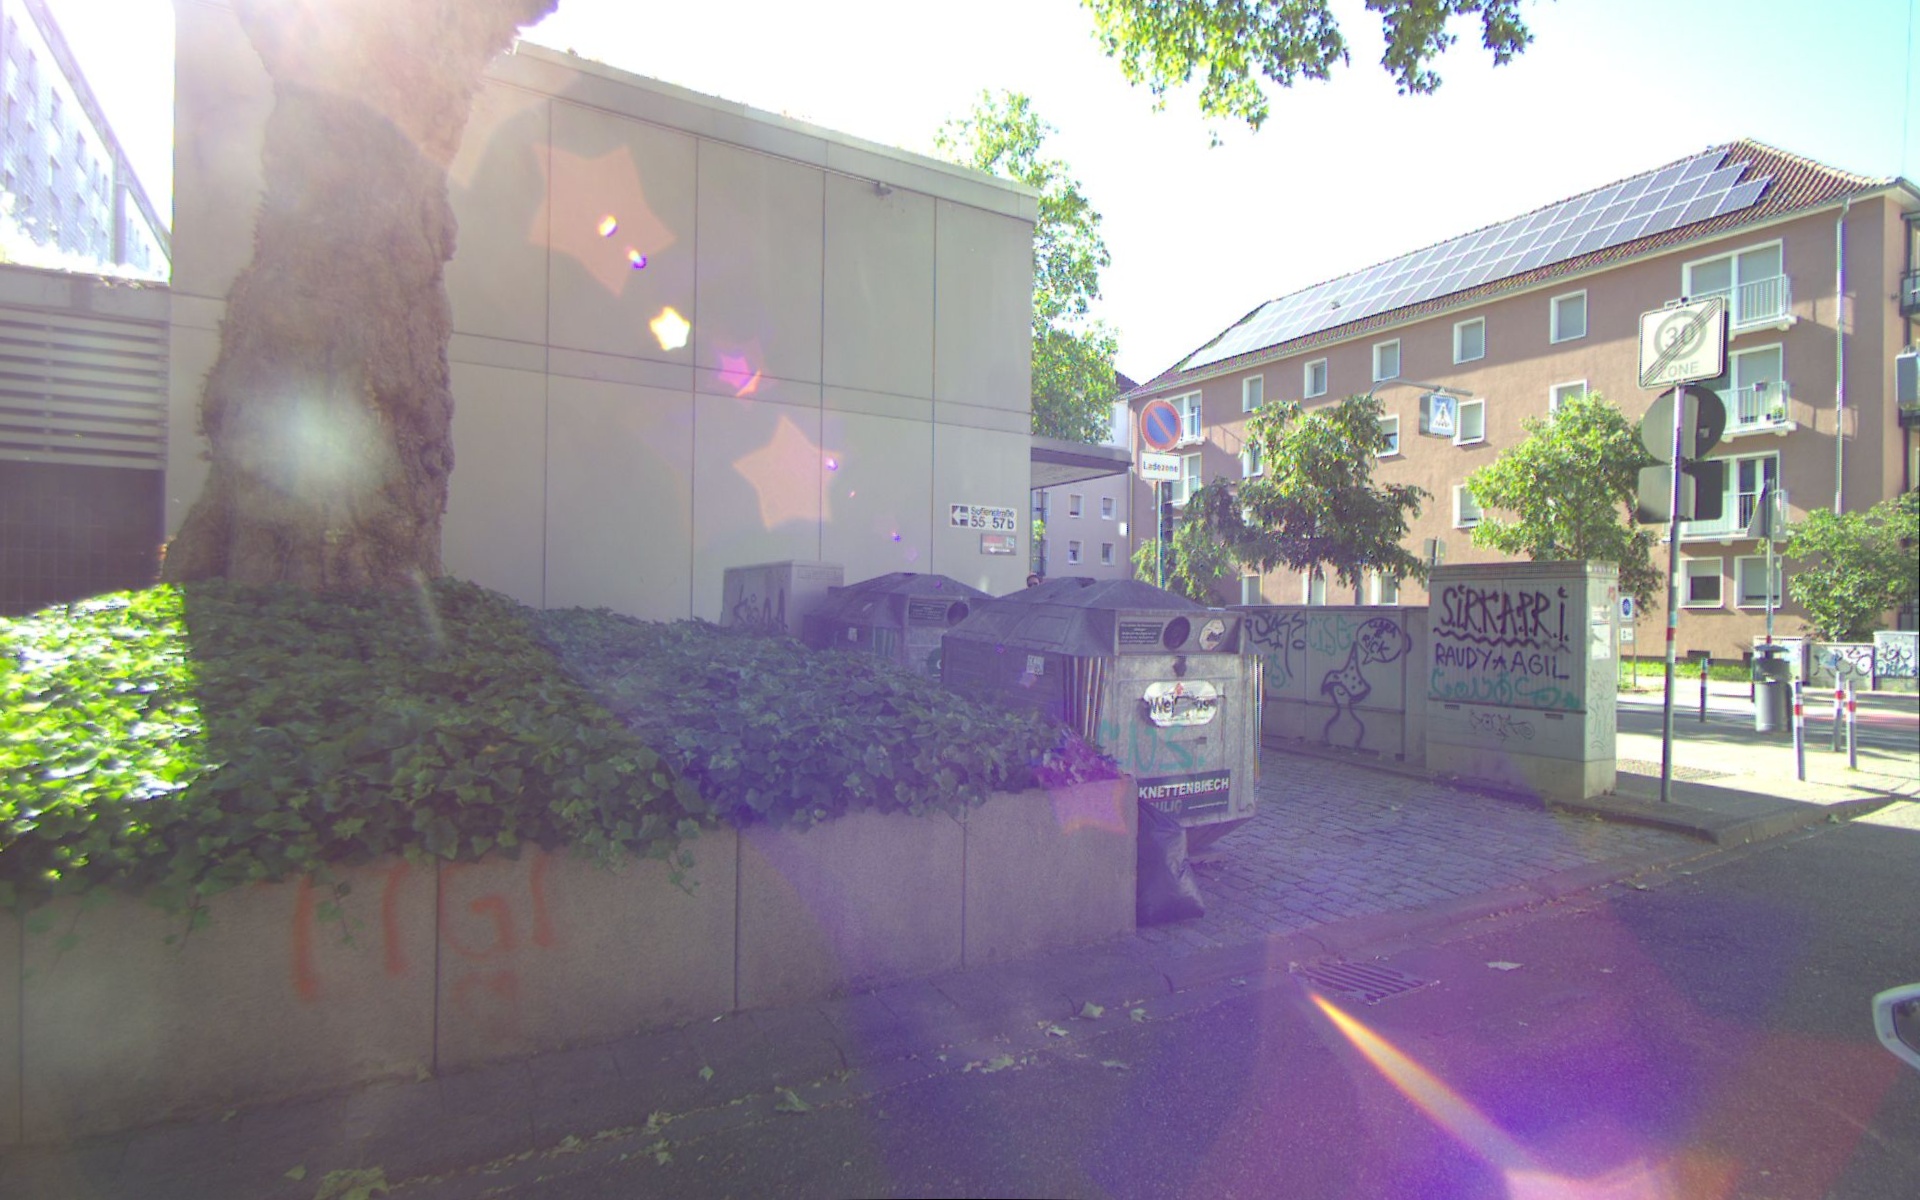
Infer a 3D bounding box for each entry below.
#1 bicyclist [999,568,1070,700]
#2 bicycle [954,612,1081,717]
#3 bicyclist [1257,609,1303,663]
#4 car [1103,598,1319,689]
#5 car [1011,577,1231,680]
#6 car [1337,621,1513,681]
[{"bbox_3d":[0.937,0.417,12.628,0.695,1.605,0.532,1,-1,38],"label":"bicyclist"},{"bbox_3d":[0.745,0.754,12.443,0.791,1.168,1.713,2,1,33],"label":"bicycle"},{"bbox_3d":[9.287,1.040,29.146,0.730,1.539,1.037,1,-1,-30],"label":"bicyclist"},{"bbox_3d":[5.042,0.841,20.007,4.256,1.634,1.743,1,-1,-32],"label":"car"},{"bbox_3d":[3.601,0.670,22.117,4.695,2.032,1.942,3,-2,-33],"label":"car"},{"bbox_3d":[12.529,1.339,27.341,1.726,1.473,4.121,1,-1,-31],"label":"car"}]
